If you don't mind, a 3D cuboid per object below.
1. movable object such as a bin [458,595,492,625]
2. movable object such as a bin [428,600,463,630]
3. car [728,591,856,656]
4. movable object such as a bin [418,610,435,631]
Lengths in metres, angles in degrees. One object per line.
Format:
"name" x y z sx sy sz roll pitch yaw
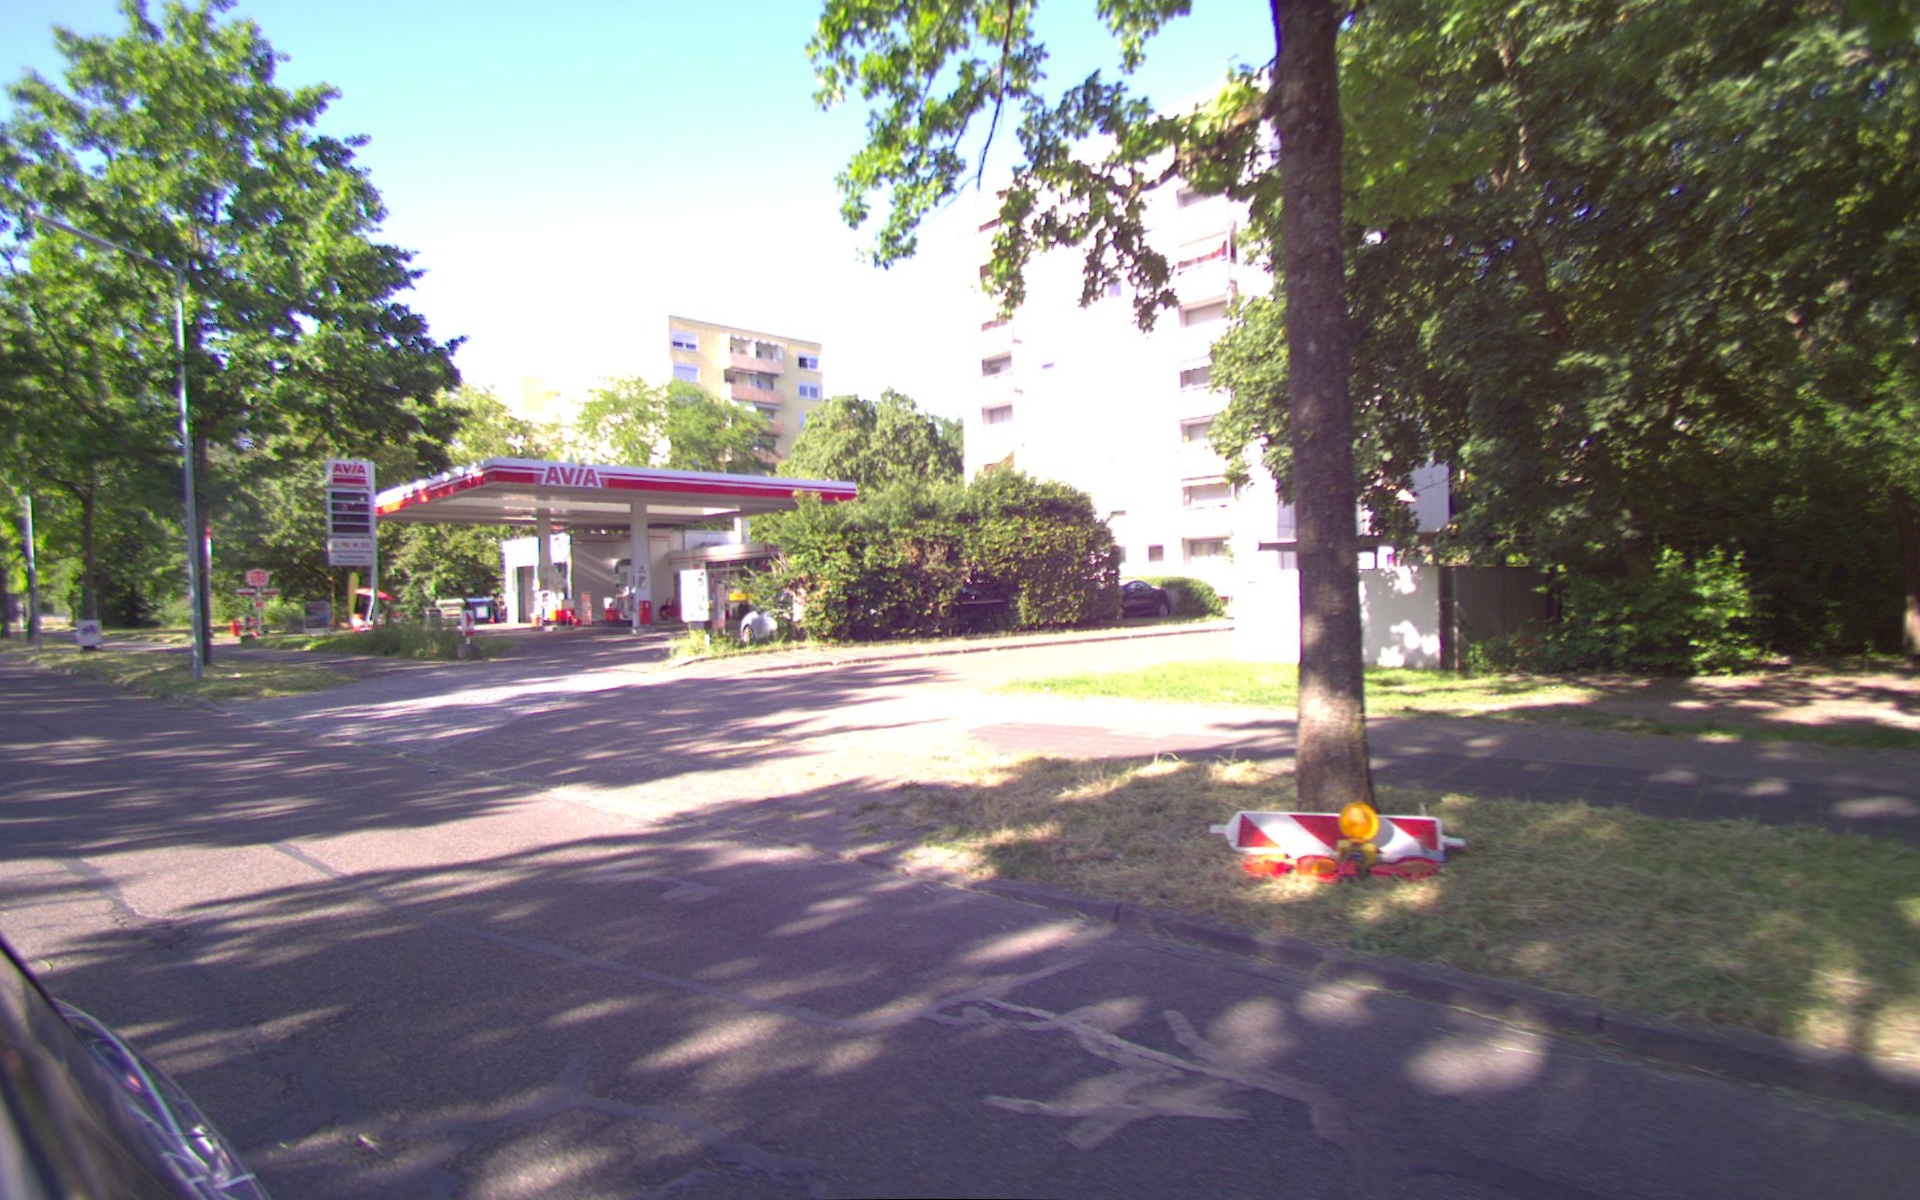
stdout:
"movable object such as a bin" -26.493 0.541 55.295 1.163 1.553 1.290 -1 1 42
"movable object such as a bin" -27.565 0.805 54.254 1.267 1.553 1.290 -1 0 42
"car" -4.263 0.570 25.340 1.527 1.432 3.492 -4 2 -41
"movable object such as a bin" -28.208 1.067 53.517 0.768 1.094 0.562 -1 0 42
